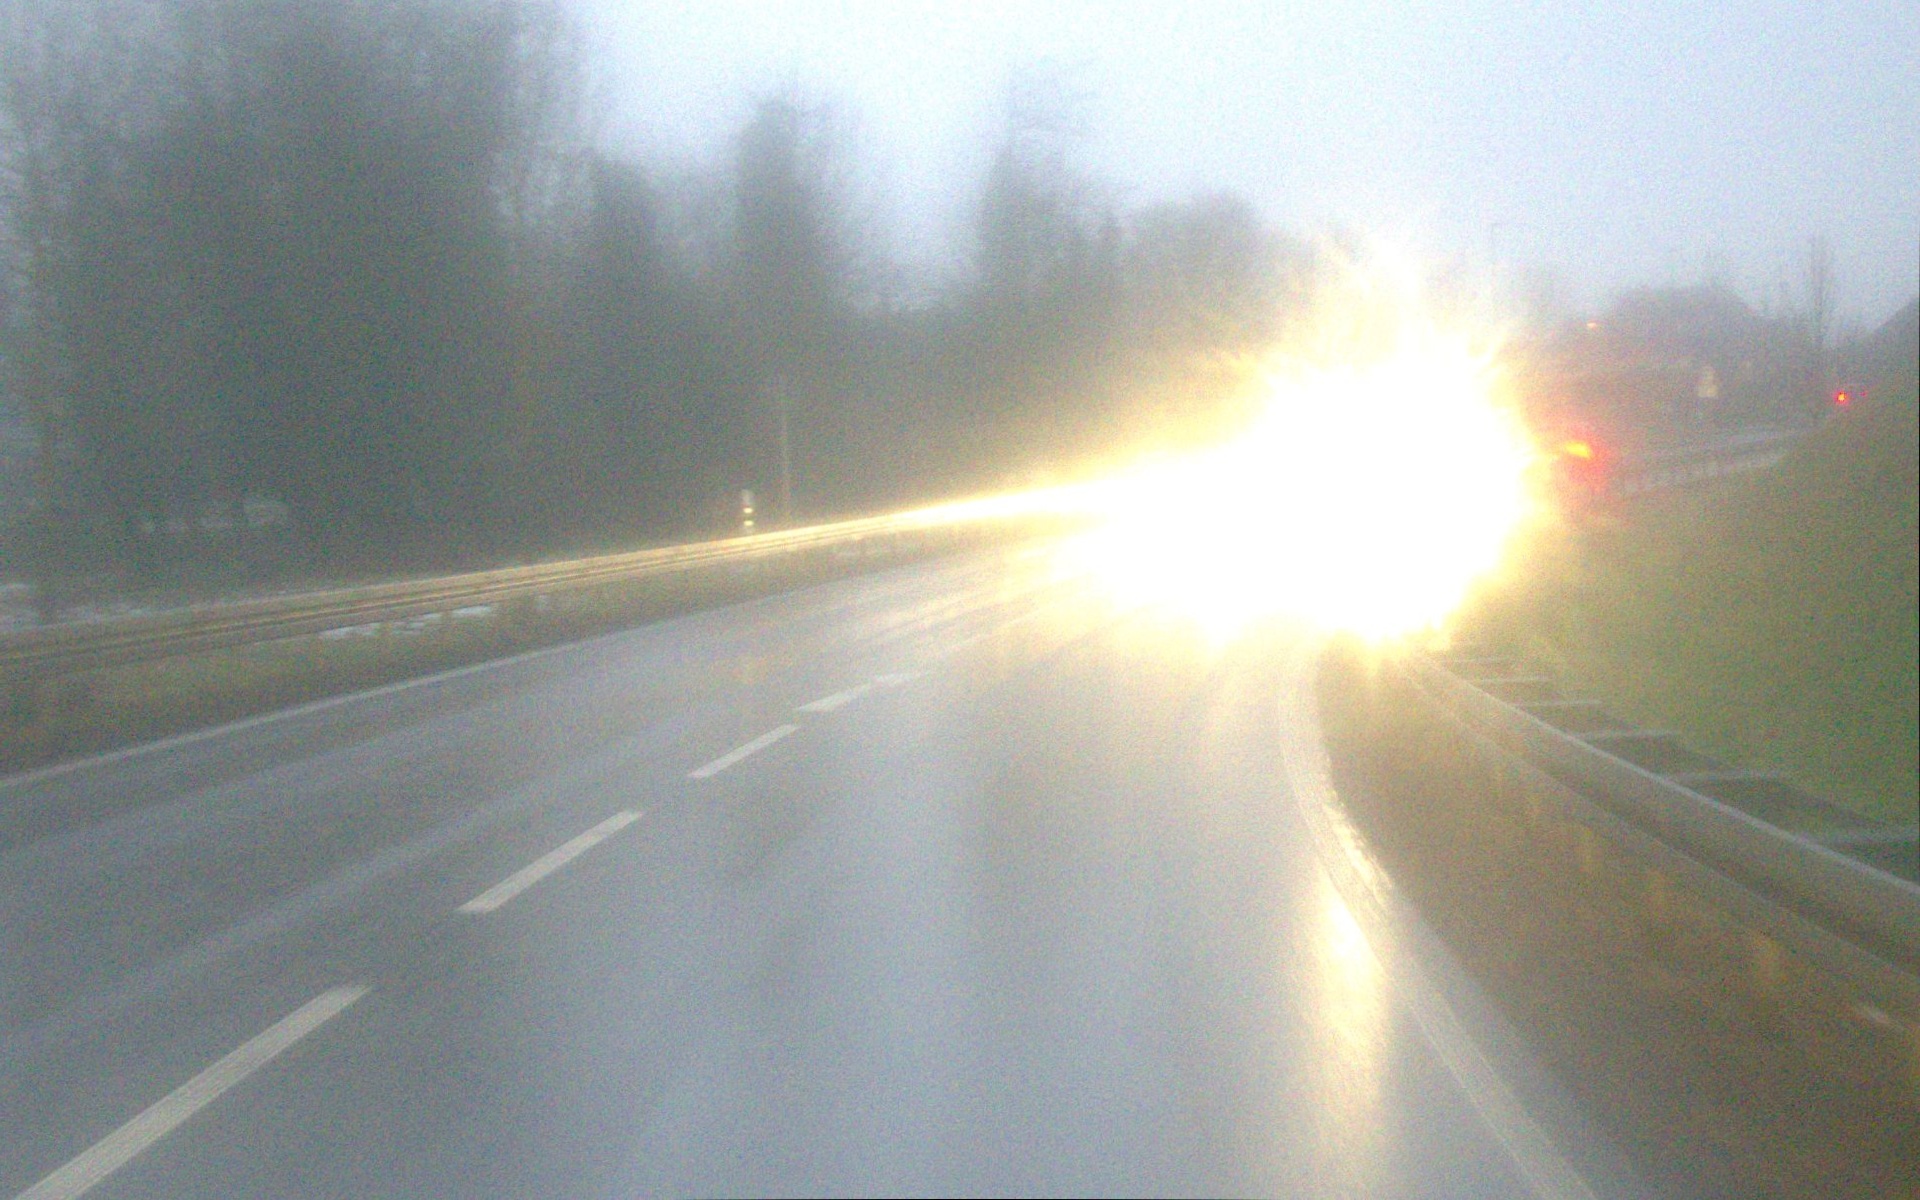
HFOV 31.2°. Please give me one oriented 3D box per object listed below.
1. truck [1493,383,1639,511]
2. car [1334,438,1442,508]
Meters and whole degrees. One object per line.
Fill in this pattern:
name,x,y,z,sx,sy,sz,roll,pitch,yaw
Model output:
truck,14.624,-3.717,82.671,2.534,2.859,5.918,-1,3,18
car,10.695,-3.158,85.632,1.995,1.615,4.595,3,3,15
